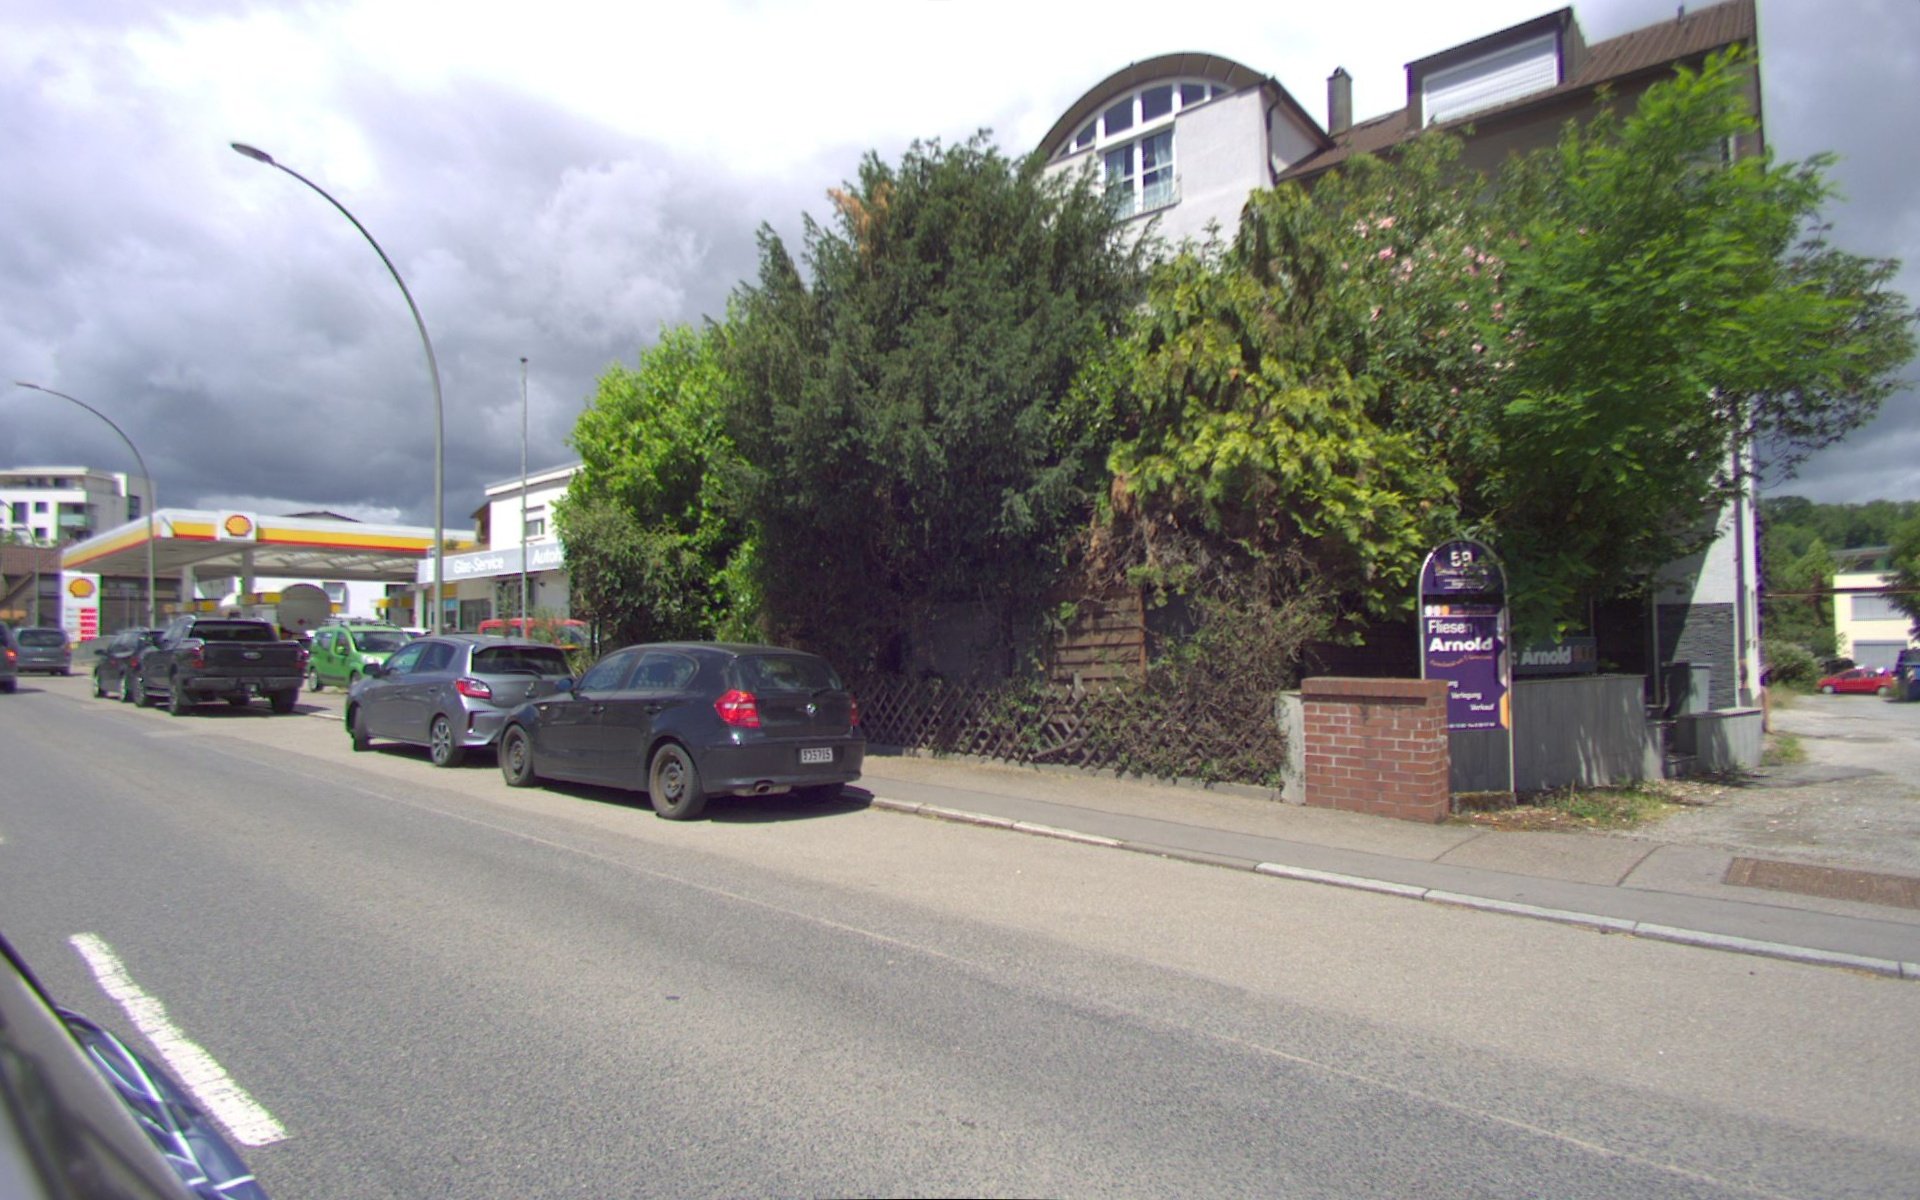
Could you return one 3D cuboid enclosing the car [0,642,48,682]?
[{"bbox_3d":[-38.753,2.528,41.319,4.188,1.526,1.645,-2,-6,41],"label":"car"}]

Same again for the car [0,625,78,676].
[{"bbox_3d":[-34.445,1.880,37.717,4.188,1.751,1.711,-2,-6,41],"label":"car"}]

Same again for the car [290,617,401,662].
[{"bbox_3d":[-27.021,1.729,44.717,1.947,1.866,4.983,-1,-2,-1],"label":"car"}]

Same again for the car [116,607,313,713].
[{"bbox_3d":[-14.832,1.196,20.005,5.427,1.835,1.891,-2,-6,41],"label":"car"}]

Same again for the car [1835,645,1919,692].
[{"bbox_3d":[38.411,2.799,41.234,3.995,1.861,1.974,-2,-5,38],"label":"car"}]

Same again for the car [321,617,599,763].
[{"bbox_3d":[-6.289,1.058,12.551,3.942,1.523,1.645,-2,-6,41],"label":"car"}]

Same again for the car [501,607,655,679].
[{"bbox_3d":[-11.318,1.222,29.954,4.316,1.995,1.865,0,0,27],"label":"car"}]

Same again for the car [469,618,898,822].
[{"bbox_3d":[-2.696,0.965,9.282,4.336,1.446,1.645,-2,-5,41],"label":"car"}]

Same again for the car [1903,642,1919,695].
[{"bbox_3d":[35.915,2.550,36.838,1.998,1.861,3.947,-2,-5,39],"label":"car"}]

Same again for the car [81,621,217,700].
[{"bbox_3d":[-18.986,1.391,23.621,4.524,1.693,1.645,-2,-4,41],"label":"car"}]

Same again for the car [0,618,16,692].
[{"bbox_3d":[-25.503,1.384,25.720,4.335,1.809,1.645,-2,-4,40],"label":"car"}]

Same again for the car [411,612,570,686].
[{"bbox_3d":[-12.758,1.283,27.462,4.322,1.799,1.779,-1,1,31],"label":"car"}]

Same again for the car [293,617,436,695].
[{"bbox_3d":[-14.928,1.354,25.293,4.335,1.799,1.774,-2,-2,40],"label":"car"}]
